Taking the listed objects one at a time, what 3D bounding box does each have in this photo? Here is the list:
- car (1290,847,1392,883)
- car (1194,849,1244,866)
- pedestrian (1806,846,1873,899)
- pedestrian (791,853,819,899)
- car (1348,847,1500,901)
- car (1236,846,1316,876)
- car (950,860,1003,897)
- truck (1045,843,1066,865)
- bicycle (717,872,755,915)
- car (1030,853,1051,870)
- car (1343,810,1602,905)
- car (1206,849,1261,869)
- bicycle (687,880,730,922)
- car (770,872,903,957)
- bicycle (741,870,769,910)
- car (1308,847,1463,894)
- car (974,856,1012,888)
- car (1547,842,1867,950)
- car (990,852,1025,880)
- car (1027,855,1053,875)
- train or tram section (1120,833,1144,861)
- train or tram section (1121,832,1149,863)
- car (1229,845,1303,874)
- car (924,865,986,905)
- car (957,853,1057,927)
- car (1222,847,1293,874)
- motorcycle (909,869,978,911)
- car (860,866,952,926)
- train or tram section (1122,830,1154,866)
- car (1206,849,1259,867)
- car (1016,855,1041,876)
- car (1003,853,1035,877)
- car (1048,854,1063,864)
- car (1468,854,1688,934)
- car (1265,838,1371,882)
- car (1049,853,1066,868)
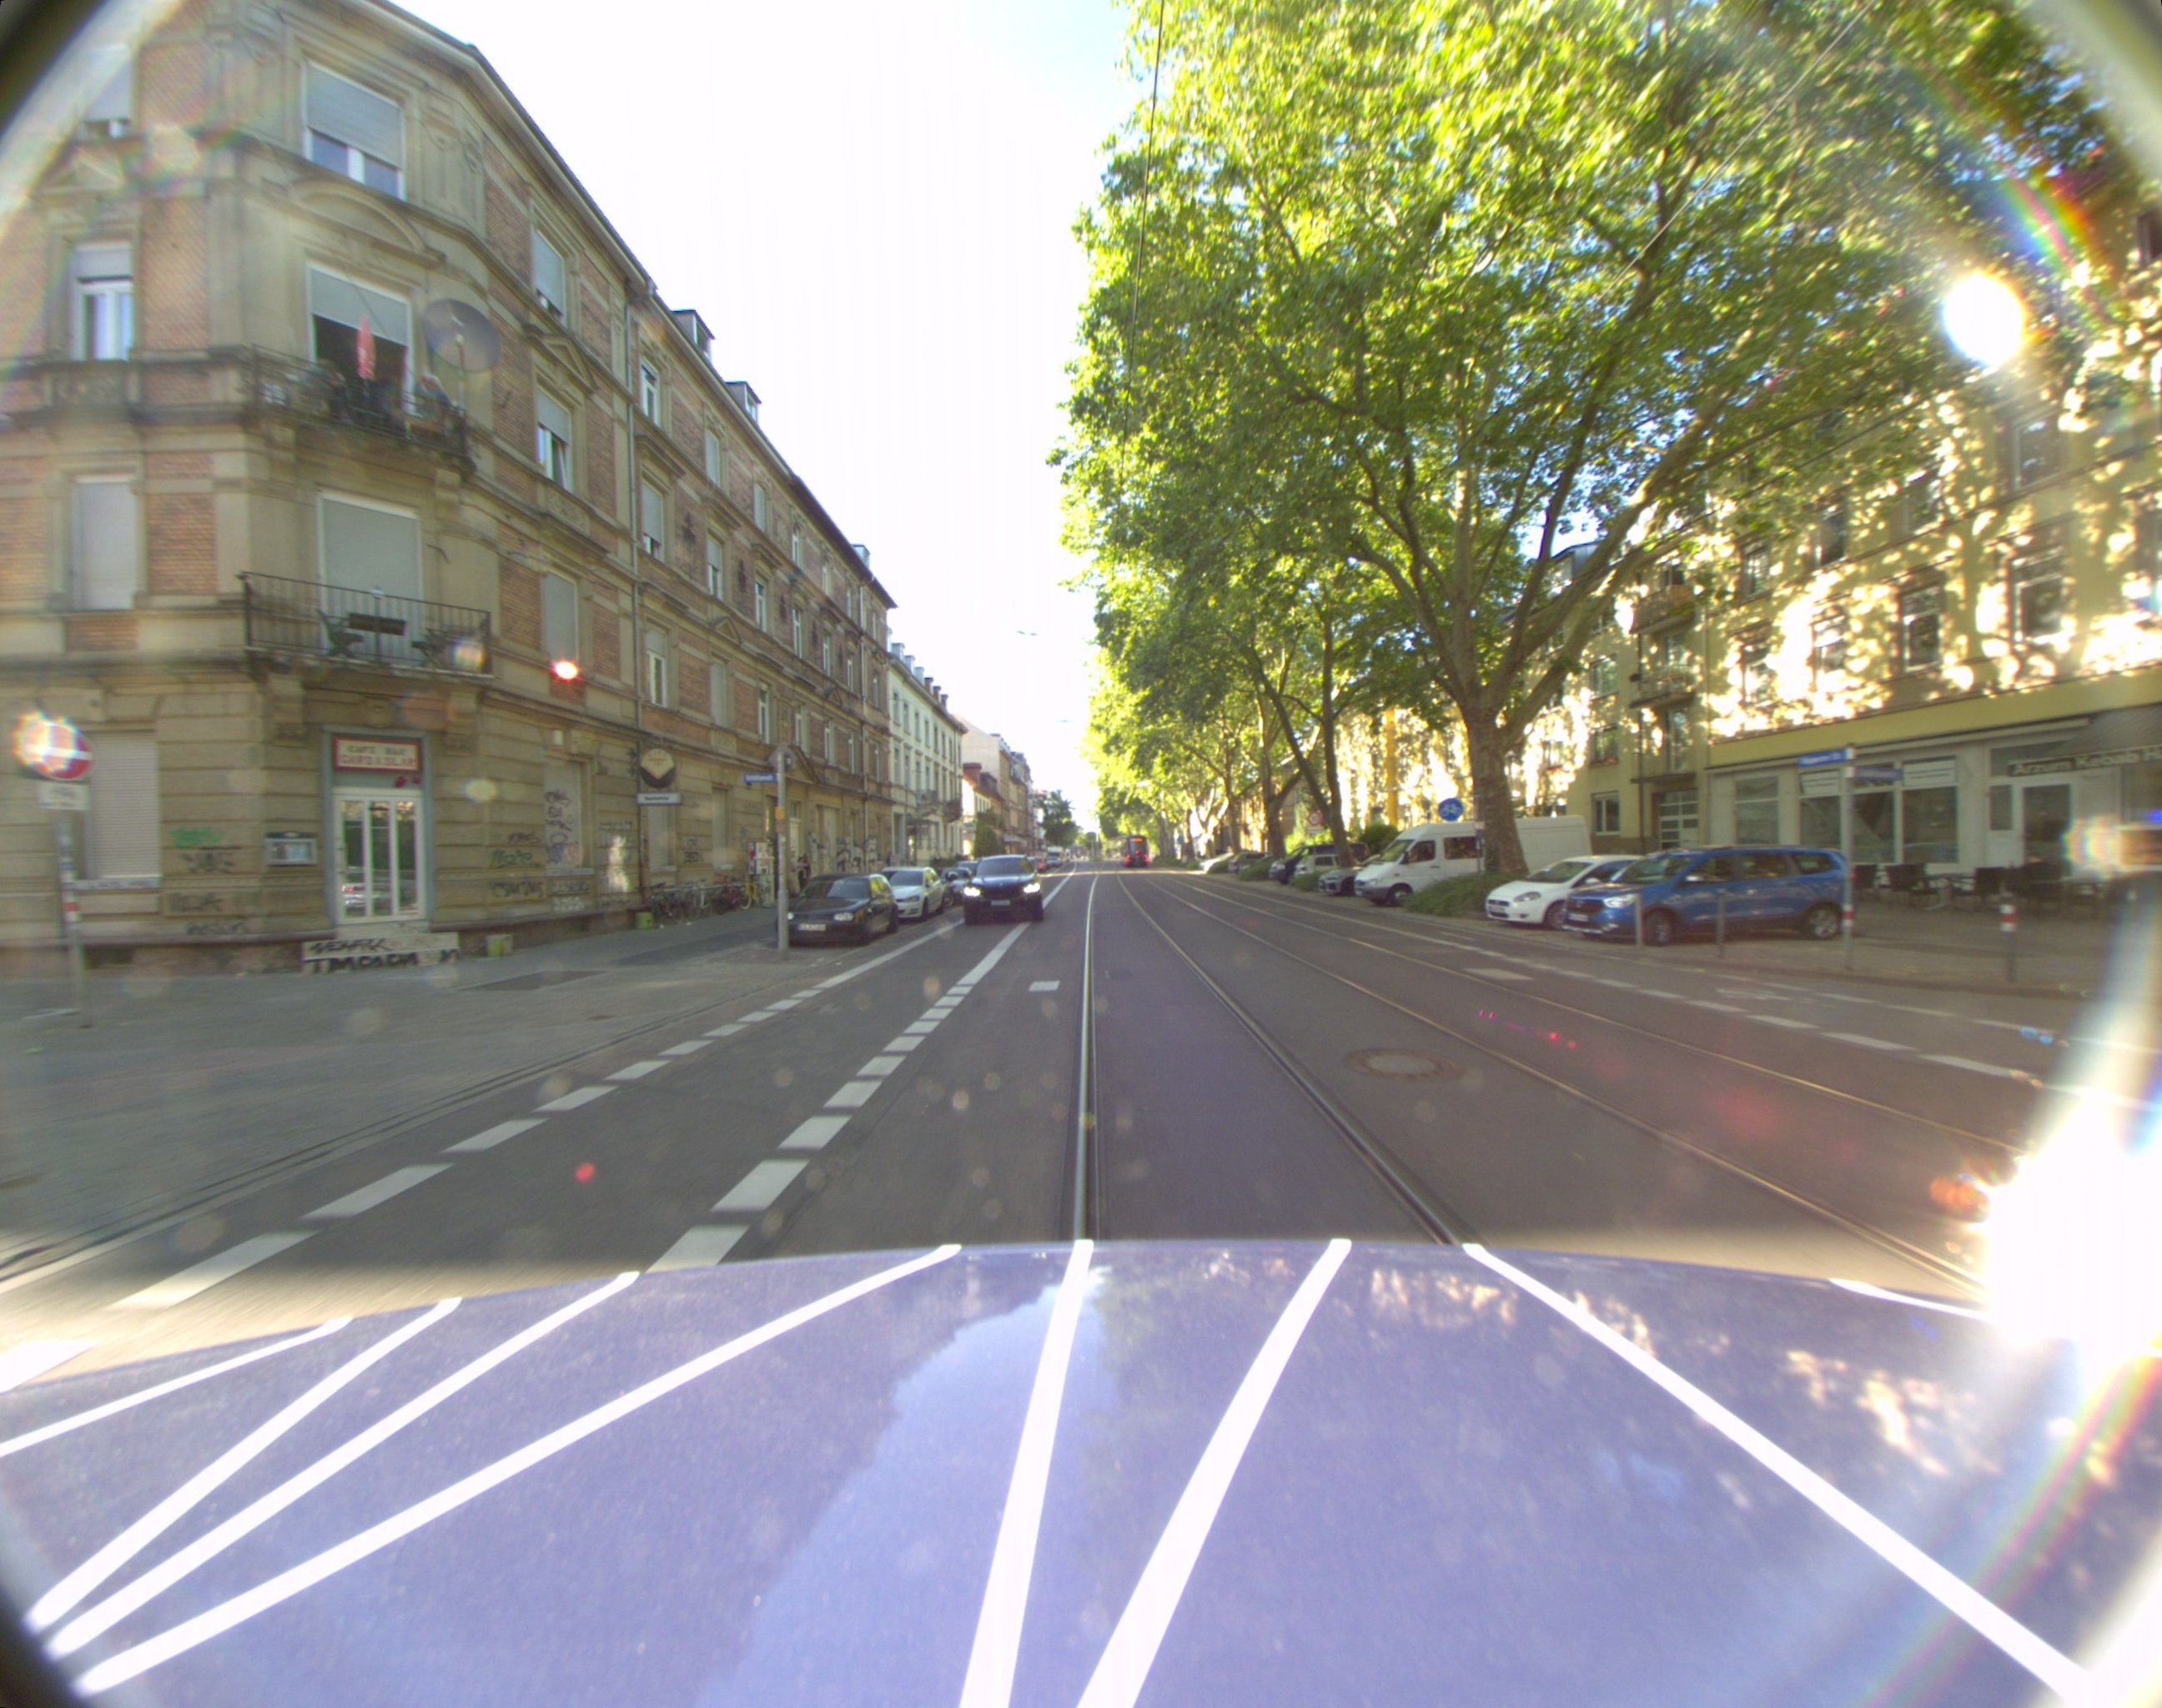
[{"bbox_3d":[12.047,0.501,35.358,4.068,1.437,1.869,-3,0,1],"label":"car"},{"bbox_3d":[11.945,0.325,65.865,3.998,1.367,1.411,-2,1,-2],"label":"car"},{"bbox_3d":[18.399,0.439,18.441,0.709,1.234,0.930,-1,1,3],"label":"pedestrian"},{"bbox_3d":[-10.223,0.794,28.190,0.716,1.647,0.766,-2,1,0],"label":"pedestrian"},{"bbox_3d":[11.376,0.625,25.403,4.155,1.489,1.904,-3,1,0],"label":"car"},{"bbox_3d":[12.023,0.424,47.015,4.365,1.603,2.000,-3,0,1],"label":"car"},{"bbox_3d":[-4.455,1.023,32.895,1.610,1.444,3.741,1,1,2],"label":"car"},{"bbox_3d":[-3.874,-0.085,118.219,2.842,3.145,7.291,-3,1,1],"label":"truck"},{"bbox_3d":[-9.861,1.106,21.738,0.379,1.147,1.372,-1,1,3],"label":"bicycle"},{"bbox_3d":[-3.905,0.706,73.282,1.702,1.559,3.686,0,1,2],"label":"car"},{"bbox_3d":[11.613,0.104,22.878,6.618,2.393,2.000,-3,0,1],"label":"car"},{"bbox_3d":[12.098,0.388,60.368,3.998,1.422,1.528,-2,1,-2],"label":"car"},{"bbox_3d":[-9.823,1.222,20.088,0.379,0.995,1.372,-1,1,3],"label":"bicycle"},{"bbox_3d":[-4.981,1.168,16.060,1.653,1.412,4.058,1,1,-2],"label":"car"},{"bbox_3d":[-9.880,1.081,23.034,0.274,1.147,1.139,-1,1,3],"label":"bicycle"},{"bbox_3d":[11.256,0.608,28.348,4.943,1.437,2.000,-3,0,1],"label":"car"},{"bbox_3d":[-4.430,0.879,38.390,1.514,1.534,2.820,0,1,1],"label":"car"},{"bbox_3d":[11.058,0.691,13.626,4.331,1.702,1.816,-1,1,-2],"label":"car"},{"bbox_3d":[-4.452,0.697,46.282,1.635,1.497,3.907,3,1,0],"label":"car"},{"bbox_3d":[-3.328,0.877,62.119,1.729,1.559,3.686,0,1,2],"label":"car"},{"bbox_3d":[7.148,-1.079,108.147,2.944,3.598,12.410,-3,1,2],"label":"train or tram section"},{"bbox_3d":[6.711,-0.900,96.322,2.944,3.598,11.258,-3,1,2],"label":"train or tram section"},{"bbox_3d":[12.061,0.367,49.737,4.365,1.603,2.000,-3,0,1],"label":"car"},{"bbox_3d":[-4.596,1.102,28.144,1.653,1.265,3.724,1,1,1],"label":"car"},{"bbox_3d":[-1.849,0.894,20.492,1.948,1.694,4.631,-2,-1,3],"label":"car"},{"bbox_3d":[12.126,0.418,52.402,4.365,1.603,2.000,-3,0,1],"label":"car"},{"bbox_3d":[-4.594,1.174,25.349,2.143,1.281,0.642,-2,1,-21],"label":"motorcycle"},{"bbox_3d":[-4.821,1.105,21.433,1.606,1.412,4.013,1,1,1],"label":"car"},{"bbox_3d":[6.297,-0.704,85.170,2.944,3.598,11.062,-3,1,2],"label":"train or tram section"},{"bbox_3d":[12.522,0.326,62.900,3.998,1.422,1.601,-2,1,-2],"label":"car"},{"bbox_3d":[-3.949,0.835,57.718,1.542,1.497,3.359,0,1,2],"label":"car"},{"bbox_3d":[-4.266,0.764,52.877,1.729,1.497,3.907,3,1,2],"label":"car"},{"bbox_3d":[-3.464,0.654,103.487,1.702,1.324,3.686,0,1,2],"label":"car"},{"bbox_3d":[10.630,0.796,16.371,3.781,1.509,1.746,-1,1,-9],"label":"car"},{"bbox_3d":[11.755,0.280,37.885,4.639,1.896,1.922,-3,0,0],"label":"car"},{"bbox_3d":[-2.612,0.714,84.569,1.702,1.559,3.686,0,1,2],"label":"car"}]
